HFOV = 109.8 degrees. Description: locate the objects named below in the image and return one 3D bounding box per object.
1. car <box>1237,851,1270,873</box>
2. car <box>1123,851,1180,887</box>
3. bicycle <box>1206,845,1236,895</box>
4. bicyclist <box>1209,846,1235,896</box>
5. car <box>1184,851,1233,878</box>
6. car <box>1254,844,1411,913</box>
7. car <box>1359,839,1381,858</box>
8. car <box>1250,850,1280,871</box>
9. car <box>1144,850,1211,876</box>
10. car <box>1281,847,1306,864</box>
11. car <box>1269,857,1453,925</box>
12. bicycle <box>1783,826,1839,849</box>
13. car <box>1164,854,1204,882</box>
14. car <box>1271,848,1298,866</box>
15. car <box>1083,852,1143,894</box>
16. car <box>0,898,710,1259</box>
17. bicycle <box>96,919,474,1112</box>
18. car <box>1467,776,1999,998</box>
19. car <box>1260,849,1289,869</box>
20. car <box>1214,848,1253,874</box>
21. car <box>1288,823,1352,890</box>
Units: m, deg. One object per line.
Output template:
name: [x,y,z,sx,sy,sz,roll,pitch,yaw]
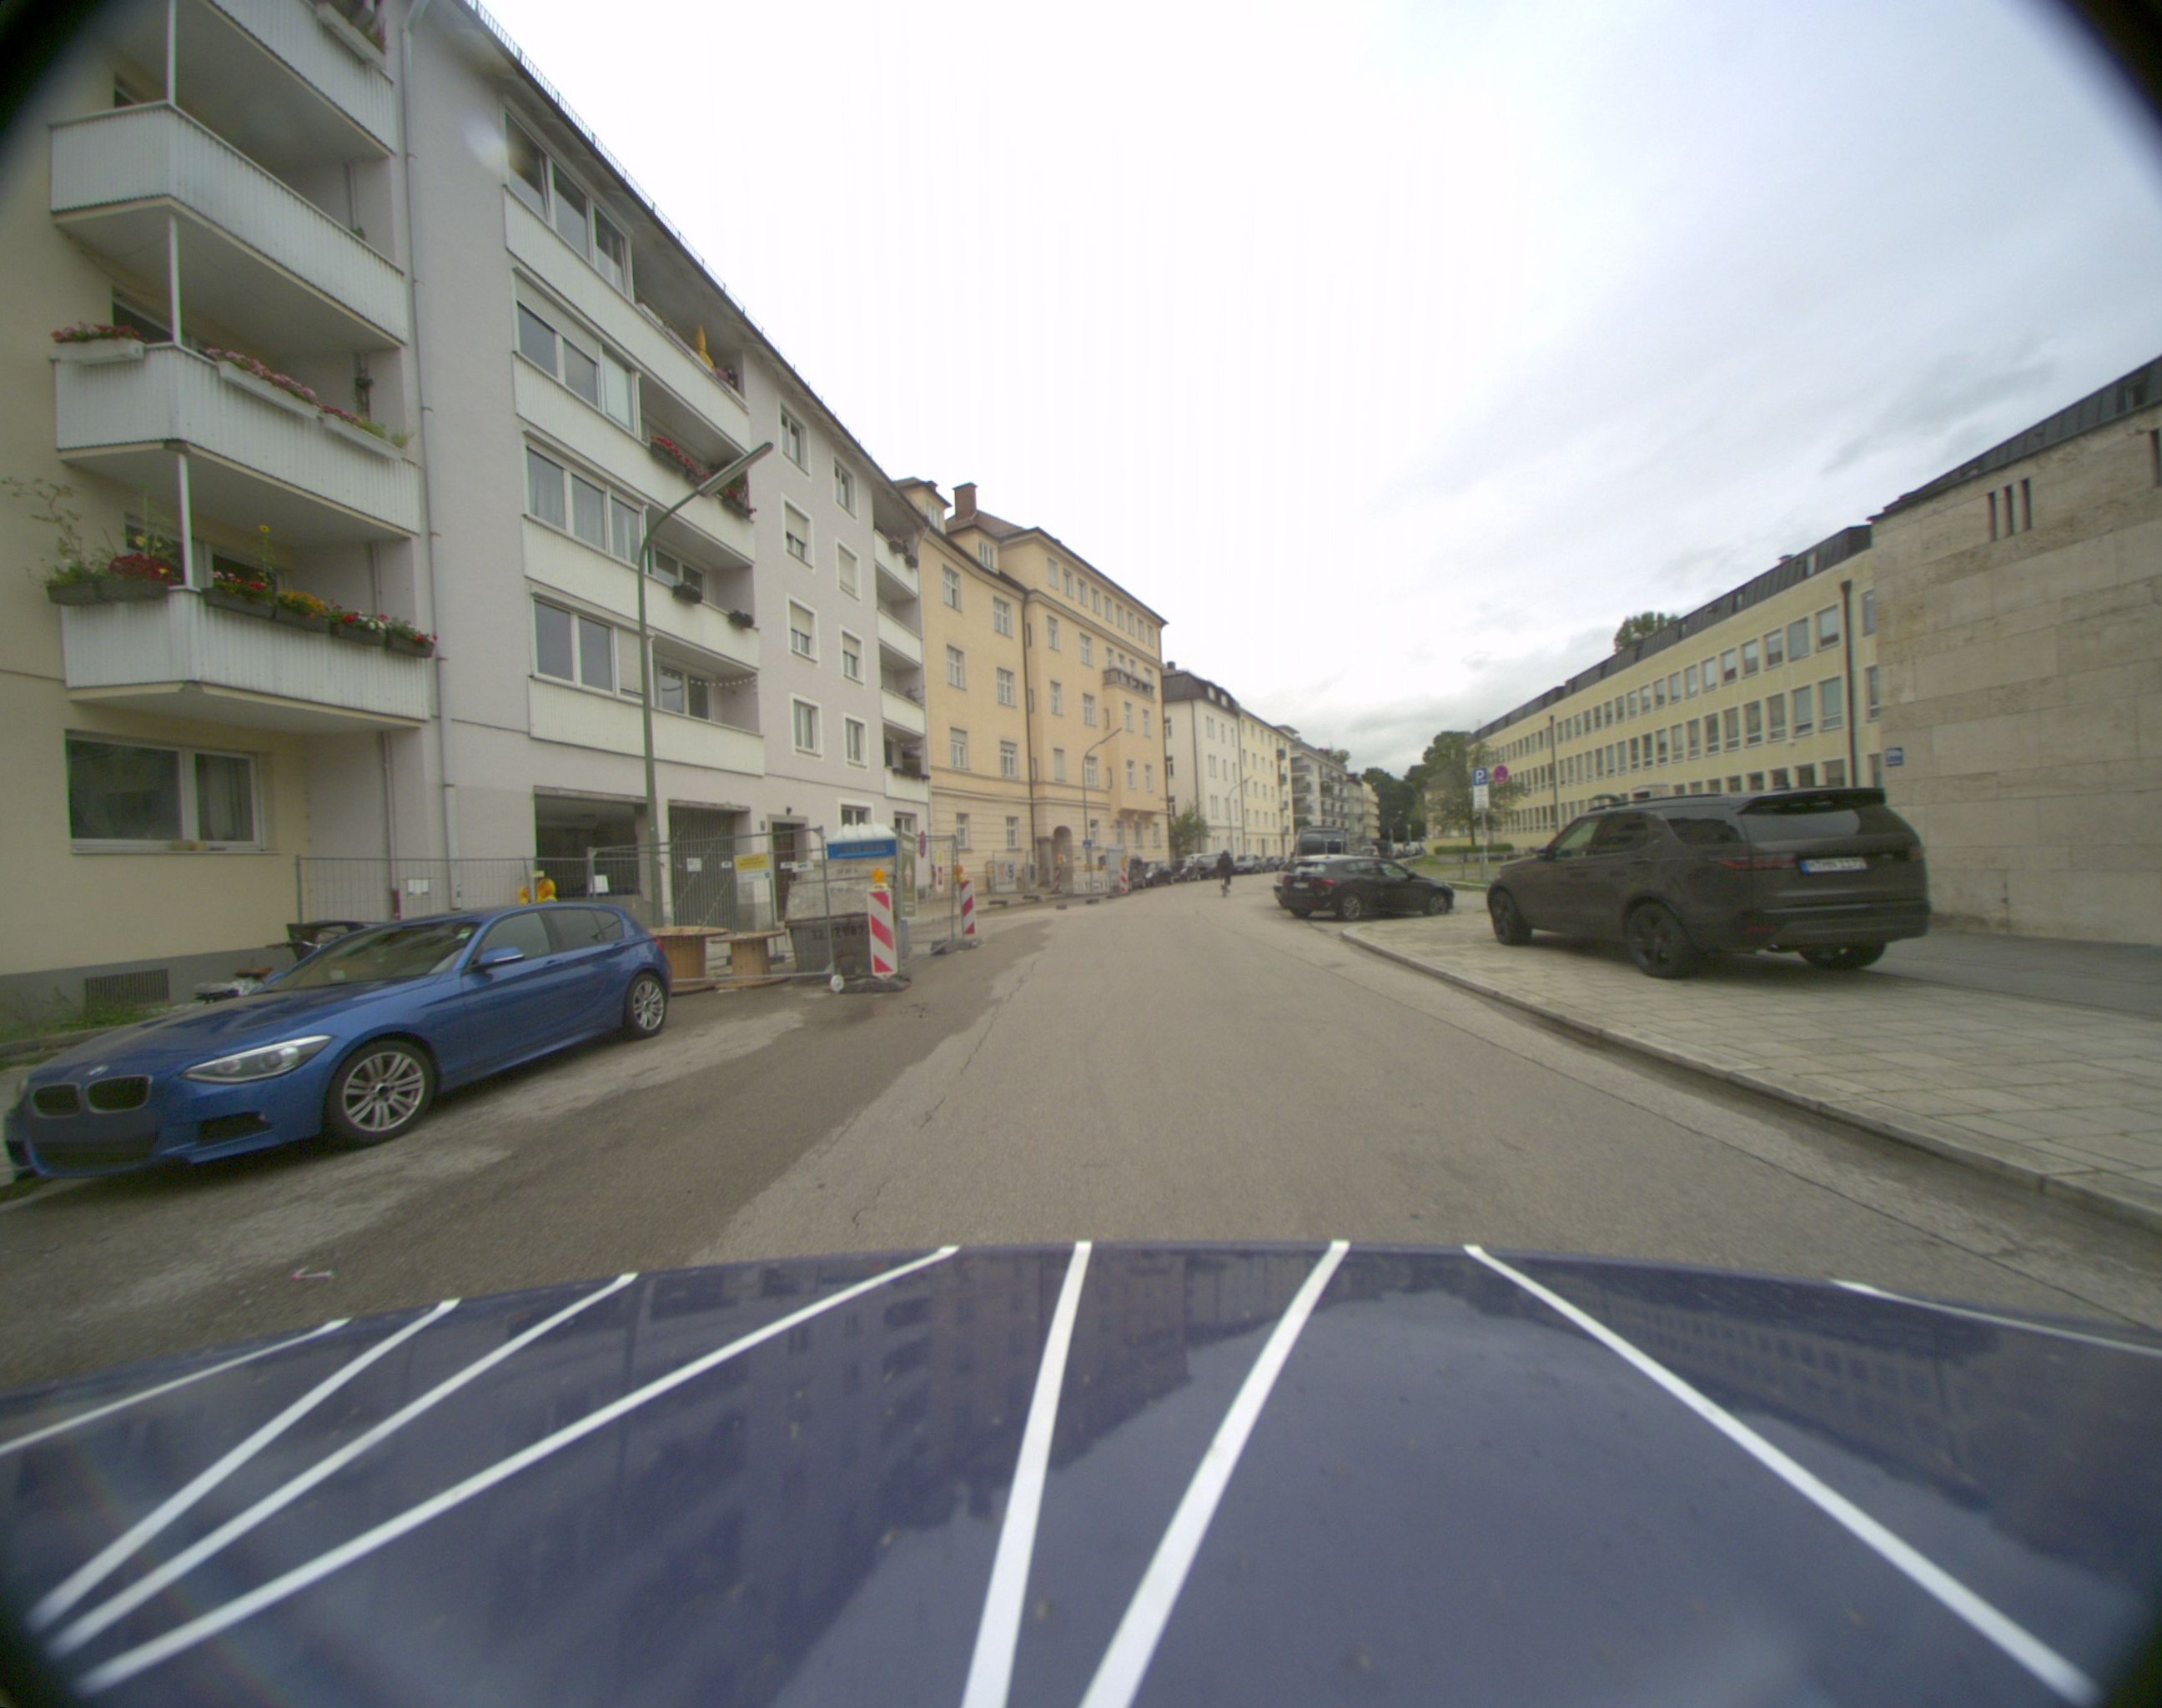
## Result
car: [14.677,0.669,64.671,1.779,1.581,3.708,-5,0,26]
car: [4.011,0.831,42.804,1.838,1.719,3.736,-5,0,27]
bicycle: [5.127,0.581,27.985,0.797,1.712,3.117,-1,-1,5]
bicyclist: [5.047,0.611,27.221,0.749,1.707,1.032,-3,0,5]
car: [9.034,0.699,53.500,1.929,1.719,4.695,-5,-2,27]
car: [7.106,0.676,21.438,3.986,1.521,1.673,-5,0,-23]
car: [32.468,-0.600,85.256,1.946,1.965,4.362,-2,1,24]
car: [16.576,0.553,68.298,1.779,1.581,3.708,-5,0,26]
car: [7.474,0.722,58.843,4.916,1.762,1.887,-2,1,15]
car: [22.639,0.168,80.971,1.779,1.581,3.708,-5,0,26]
car: [6.584,0.799,17.857,4.012,1.365,1.746,-1,0,-26]
bicycle: [33.775,-0.762,35.170,1.904,0.911,0.438,-5,0,11]
car: [6.662,0.892,48.781,1.509,1.547,2.867,-5,0,29]
car: [20.354,0.297,75.940,1.779,1.581,3.708,-5,0,26]
car: [1.652,0.875,37.307,1.839,1.788,4.243,-5,0,16]
car: [-5.092,1.252,5.992,1.835,1.433,4.629,-5,0,2]
bicycle: [-7.635,1.445,7.619,0.812,1.315,2.775,-2,0,0]
car: [6.721,0.302,8.820,1.998,1.761,4.815,-3,0,1]
car: [18.315,0.450,71.793,1.779,1.581,3.708,-5,0,26]
car: [11.933,0.546,59.247,1.779,1.719,4.397,-5,0,27]
car: [10.213,0.069,32.938,2.147,2.559,6.217,-2,0,13]
